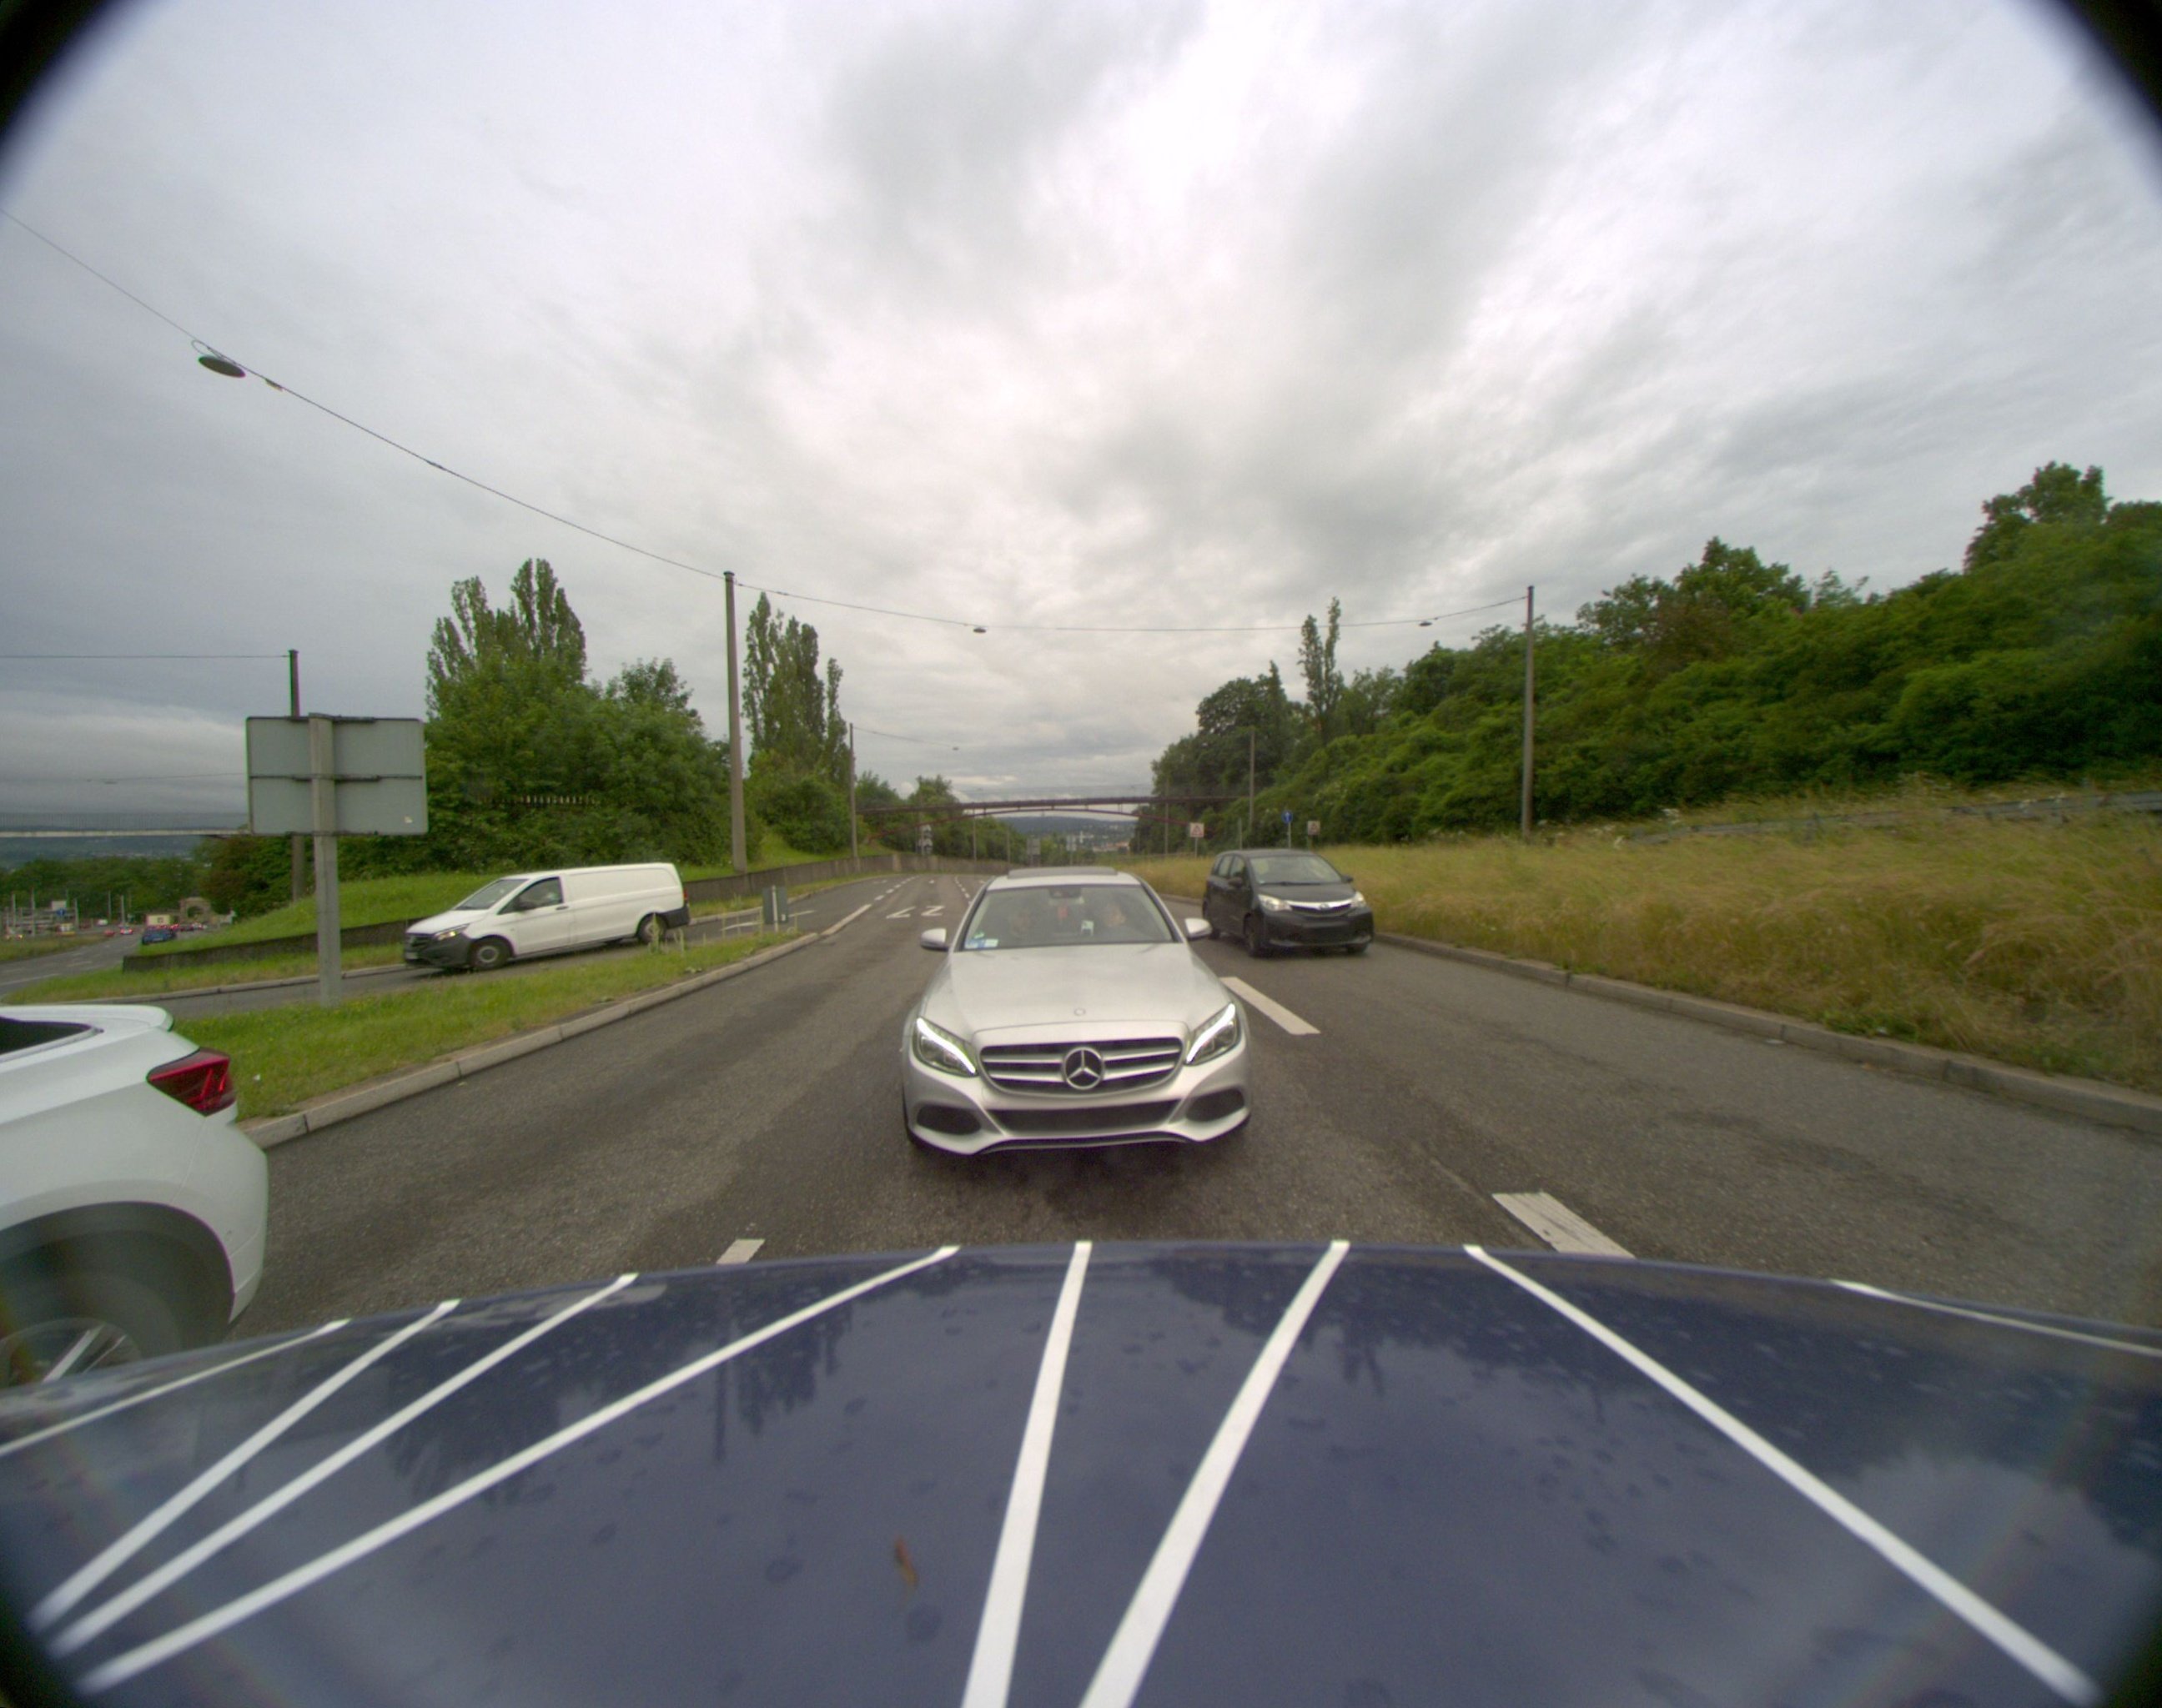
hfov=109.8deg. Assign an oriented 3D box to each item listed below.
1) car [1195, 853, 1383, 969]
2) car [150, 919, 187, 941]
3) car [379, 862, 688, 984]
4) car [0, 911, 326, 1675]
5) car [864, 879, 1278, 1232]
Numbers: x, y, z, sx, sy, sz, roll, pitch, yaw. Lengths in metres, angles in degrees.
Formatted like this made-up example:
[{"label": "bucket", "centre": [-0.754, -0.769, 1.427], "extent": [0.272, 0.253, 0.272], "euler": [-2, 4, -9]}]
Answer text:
[{"label": "car", "centre": [3.092, 0.778, 12.123], "extent": [1.647, 1.495, 3.777], "euler": [-2, 0, -5]}, {"label": "car", "centre": [-76.278, 6.337, 63.563], "extent": [4.280, 1.467, 1.703], "euler": [-1, 2, 43]}, {"label": "car", "centre": [-11.400, 1.350, 16.283], "extent": [1.995, 1.837, 4.830], "euler": [-6, 1, 29]}, {"label": "car", "centre": [-3.090, 1.008, 0.143], "extent": [1.718, 1.544, 4.227], "euler": [-2, 1, -3]}, {"label": "car", "centre": [-0.208, 0.985, 5.586], "extent": [1.895, 1.361, 4.132], "euler": [-2, 1, -5]}]
